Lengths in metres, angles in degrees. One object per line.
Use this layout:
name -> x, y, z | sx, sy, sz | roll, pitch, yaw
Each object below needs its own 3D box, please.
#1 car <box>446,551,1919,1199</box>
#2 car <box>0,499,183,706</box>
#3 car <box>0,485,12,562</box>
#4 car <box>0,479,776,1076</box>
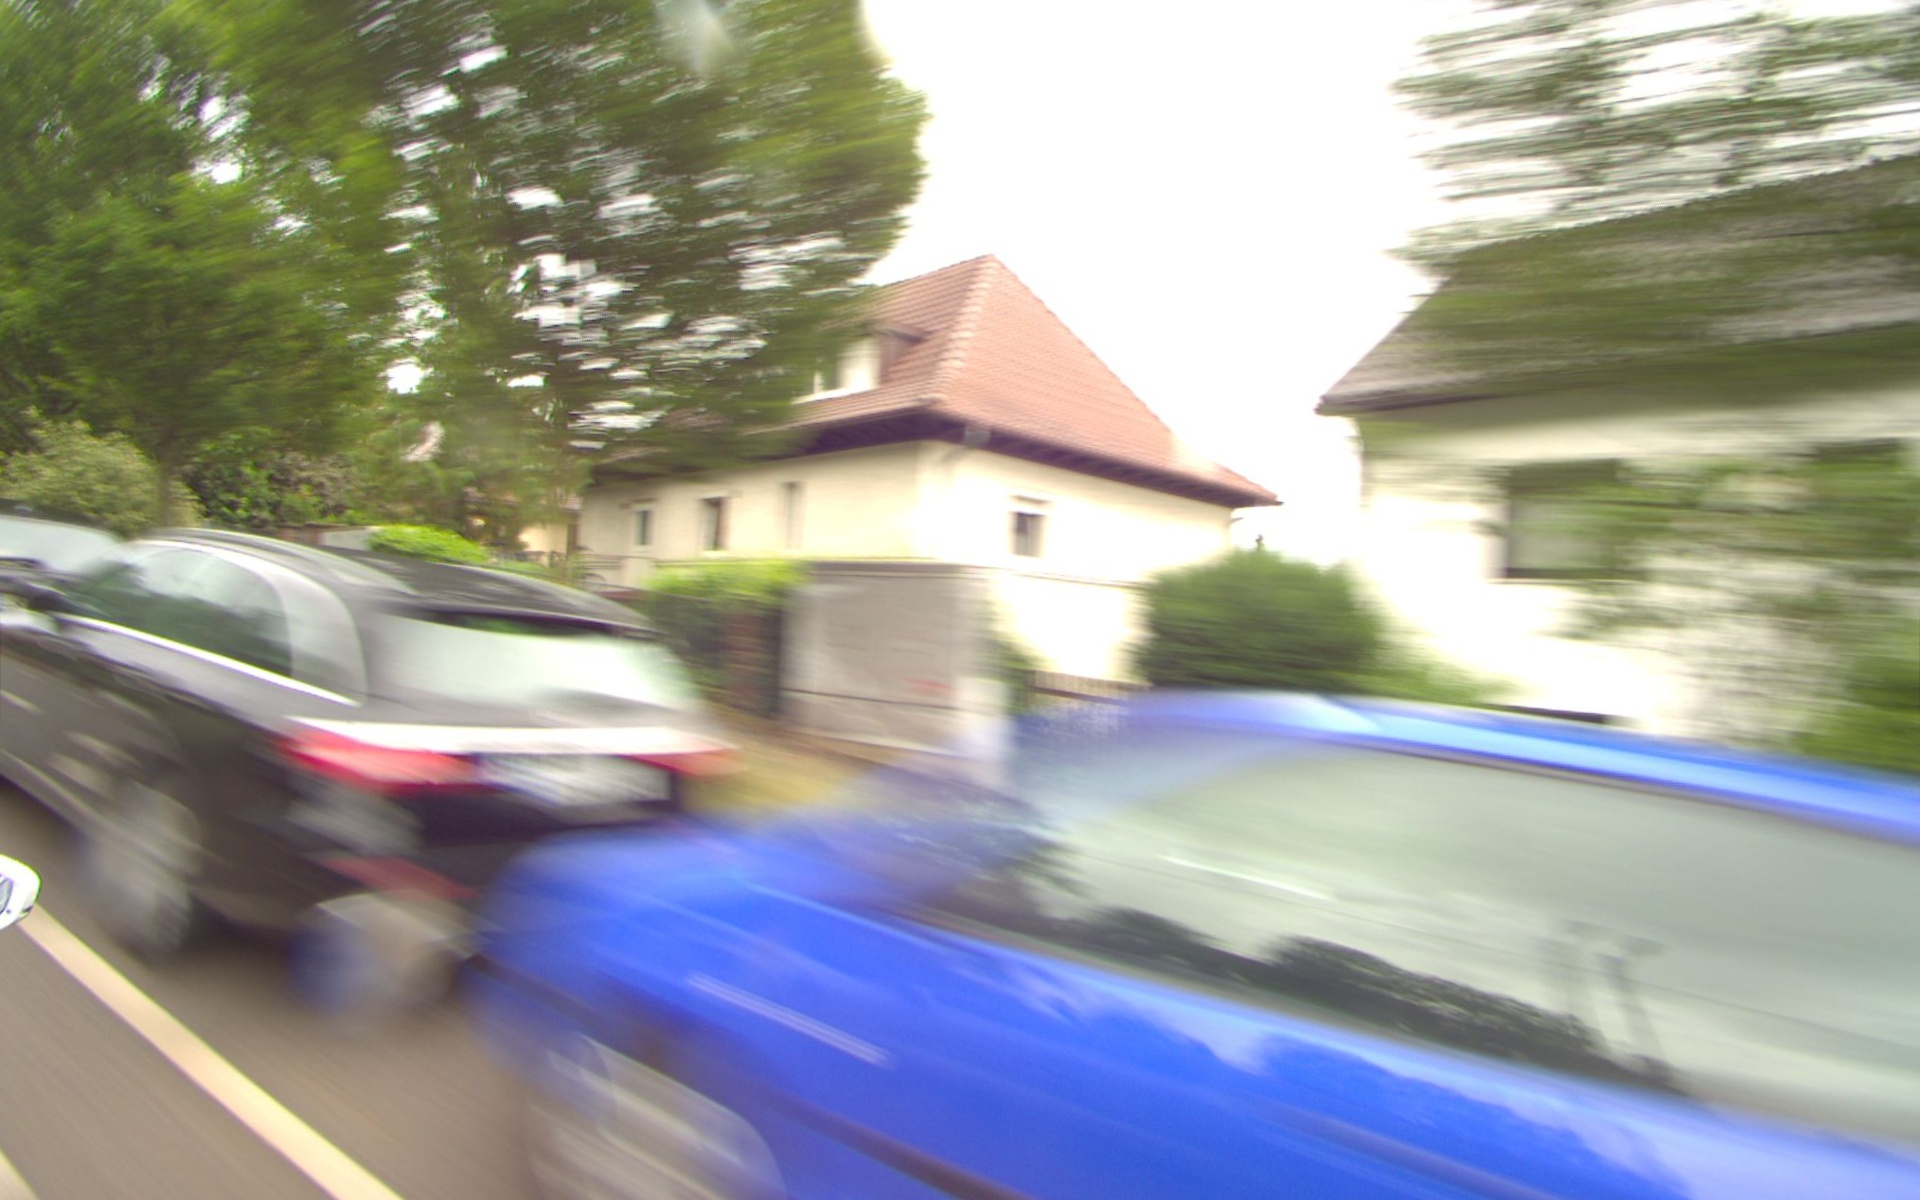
car -> 0.943, 0.914, 2.123 | 3.933, 1.537, 1.657 | 6, -2, 31
car -> -8.400, -0.162, 8.523 | 4.221, 1.440, 1.644 | 7, -2, 36
car -> -12.573, -0.751, 11.574 | 4.102, 1.573, 1.715 | 7, -2, 38
car -> -3.265, 0.407, 4.833 | 4.653, 1.571, 1.778 | 7, -2, 35
